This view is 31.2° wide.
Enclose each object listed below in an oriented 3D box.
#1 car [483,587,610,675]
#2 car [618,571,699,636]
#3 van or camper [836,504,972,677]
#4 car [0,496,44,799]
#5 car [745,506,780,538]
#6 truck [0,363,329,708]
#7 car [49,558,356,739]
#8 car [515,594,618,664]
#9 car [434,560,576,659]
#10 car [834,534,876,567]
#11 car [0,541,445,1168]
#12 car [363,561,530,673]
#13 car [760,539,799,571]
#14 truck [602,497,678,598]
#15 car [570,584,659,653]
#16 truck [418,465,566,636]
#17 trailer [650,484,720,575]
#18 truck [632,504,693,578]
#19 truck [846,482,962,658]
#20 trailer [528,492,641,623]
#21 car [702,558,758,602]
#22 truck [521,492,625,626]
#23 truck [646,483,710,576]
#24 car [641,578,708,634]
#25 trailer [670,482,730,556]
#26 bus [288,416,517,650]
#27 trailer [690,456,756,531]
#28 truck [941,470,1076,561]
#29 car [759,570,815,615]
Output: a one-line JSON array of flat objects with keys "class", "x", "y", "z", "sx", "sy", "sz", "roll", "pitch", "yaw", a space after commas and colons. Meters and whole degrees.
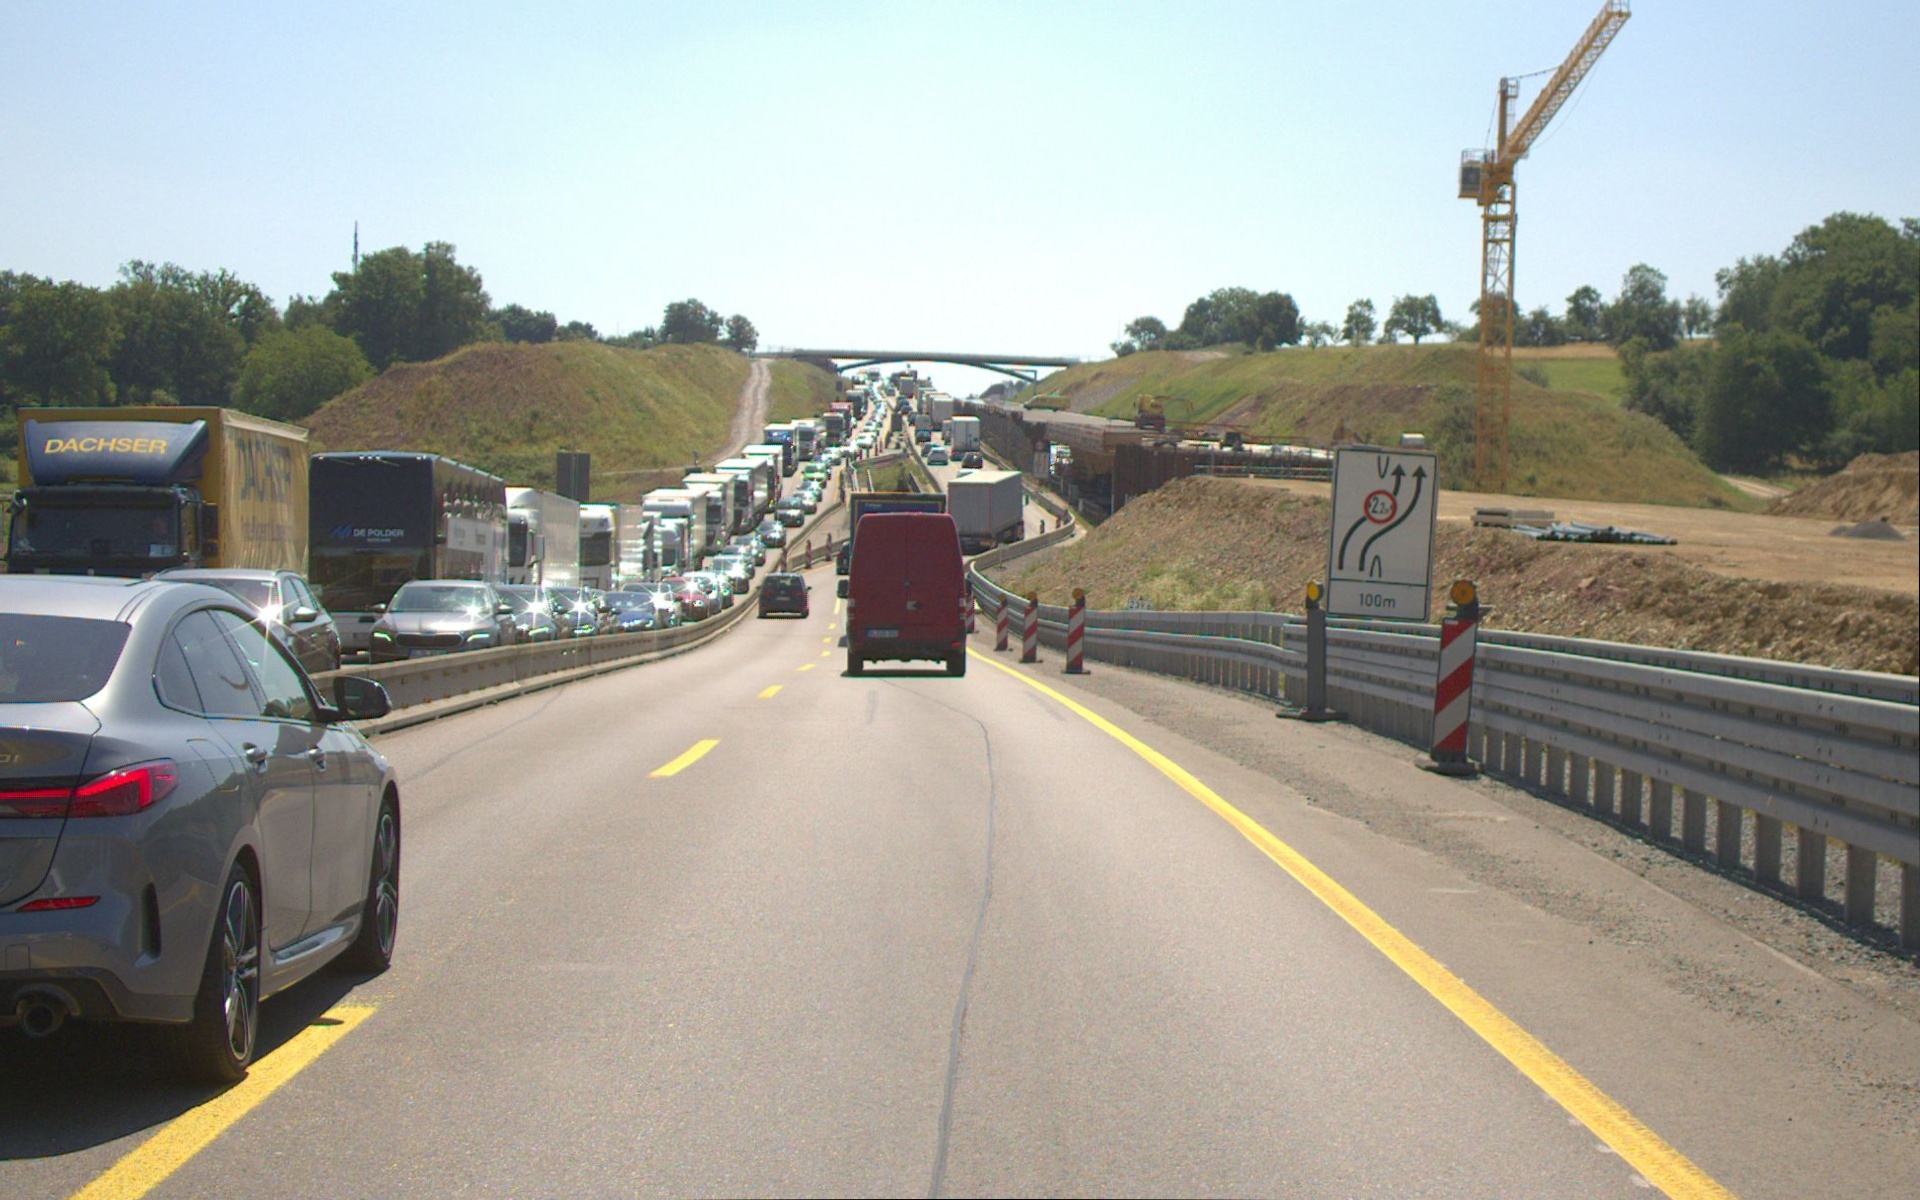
[{"class": "car", "x": -7.844, "y": 0.555, "z": 65.612, "sx": 1.918, "sy": 1.418, "sz": 5.091, "roll": 2, "pitch": 2, "yaw": -2}, {"class": "car", "x": -8.483, "y": 0.077, "z": 97.185, "sx": 1.993, "sy": 1.615, "sz": 4.883, "roll": 2, "pitch": 2, "yaw": -2}, {"class": "van or camper", "x": -0.973, "y": -0.210, "z": 57.332, "sx": 2.029, "sy": 2.735, "sz": 4.516, "roll": 1, "pitch": 1, "yaw": -3}, {"class": "car", "x": -6.594, "y": 0.301, "z": 17.545, "sx": 2.371, "sy": 1.720, "sz": 5.781, "roll": 1, "pitch": 2, "yaw": -1}, {"class": "car", "x": -11.526, "y": -4.586, "z": 200.731, "sx": 1.993, "sy": 1.777, "sz": 4.001, "roll": 2, "pitch": 2, "yaw": -3}, {"class": "truck", "x": -10.864, "y": -0.800, "z": 46.891, "sx": 2.802, "sy": 4.138, "sz": 10.080, "roll": 2, "pitch": 0, "yaw": -1}, {"class": "car", "x": -7.043, "y": 0.393, "z": 32.482, "sx": 1.882, "sy": 1.427, "sz": 5.126, "roll": 2, "pitch": 2, "yaw": -2}, {"class": "car", "x": -8.313, "y": 0.585, "z": 72.956, "sx": 1.832, "sy": 1.418, "sz": 4.684, "roll": 1, "pitch": 0, "yaw": -3}, {"class": "car", "x": -7.570, "y": 0.125, "z": 57.560, "sx": 1.838, "sy": 1.438, "sz": 4.930, "roll": 1, "pitch": 2, "yaw": -2}, {"class": "car", "x": -5.334, "y": -2.492, "z": 174.026, "sx": 2.012, "sy": 1.539, "sz": 4.133, "roll": 2, "pitch": 2, "yaw": -2}, {"class": "car", "x": -2.918, "y": 0.590, "z": 10.895, "sx": 1.851, "sy": 1.447, "sz": 4.742, "roll": 2, "pitch": 2, "yaw": 0}, {"class": "car", "x": -7.346, "y": 0.212, "z": 49.609, "sx": 1.859, "sy": 1.489, "sz": 4.905, "roll": -1, "pitch": 1, "yaw": -3}, {"class": "car", "x": -8.950, "y": -2.237, "z": 170.784, "sx": 1.827, "sy": 1.530, "sz": 4.547, "roll": -1, "pitch": 1, "yaw": -2}, {"class": "truck", "x": -12.716, "y": -2.109, "z": 137.162, "sx": 2.524, "sy": 3.842, "sz": 8.672, "roll": 1, "pitch": 1, "yaw": -2}, {"class": "car", "x": -8.317, "y": 0.427, "z": 83.083, "sx": 1.812, "sy": 1.433, "sz": 5.122, "roll": 2, "pitch": 2, "yaw": -3}, {"class": "truck", "x": -11.964, "y": -1.276, "z": 88.443, "sx": 3.097, "sy": 4.183, "sz": 6.703, "roll": 1, "pitch": 1, "yaw": -2}, {"class": "trailer", "x": -13.331, "y": -3.462, "z": 167.420, "sx": 2.594, "sy": 4.242, "sz": 12.469, "roll": 1, "pitch": 1, "yaw": -1}, {"class": "truck", "x": -13.081, "y": -2.623, "z": 151.430, "sx": 2.433, "sy": 3.137, "sz": 7.025, "roll": 0, "pitch": 2, "yaw": -3}, {"class": "truck", "x": -1.501, "y": -0.900, "z": 95.454, "sx": 3.020, "sy": 4.677, "sz": 6.933, "roll": -1, "pitch": 1, "yaw": 0}, {"class": "trailer", "x": -12.852, "y": -1.454, "z": 118.585, "sx": 2.985, "sy": 4.194, "sz": 13.947, "roll": 1, "pitch": 1, "yaw": -3}, {"class": "car", "x": -9.132, "y": -0.817, "z": 136.781, "sx": 1.993, "sy": 1.551, "sz": 4.339, "roll": 3, "pitch": 2, "yaw": -2}, {"class": "truck", "x": -12.467, "y": -1.331, "z": 111.156, "sx": 2.977, "sy": 4.170, "sz": 5.875, "roll": 1, "pitch": 1, "yaw": -3}, {"class": "truck", "x": -13.159, "y": -3.332, "z": 160.705, "sx": 2.550, "sy": 4.216, "sz": 6.531, "roll": 1, "pitch": 2, "yaw": -1}, {"class": "car", "x": -9.448, "y": 0.175, "z": 114.169, "sx": 1.993, "sy": 1.625, "sz": 4.759, "roll": 2, "pitch": 2, "yaw": -3}, {"class": "trailer", "x": -14.316, "y": -4.396, "z": 189.798, "sx": 2.783, "sy": 3.918, "sz": 11.009, "roll": 1, "pitch": 1, "yaw": -2}, {"class": "bus", "x": -11.259, "y": -1.463, "z": 70.953, "sx": 2.739, "sy": 4.249, "sz": 14.478, "roll": 2, "pitch": 2, "yaw": -2}, {"class": "trailer", "x": -14.736, "y": -6.623, "z": 214.715, "sx": 3.042, "sy": 4.536, "sz": 12.127, "roll": 1, "pitch": 2, "yaw": 1}, {"class": "truck", "x": 2.937, "y": -4.936, "z": 201.135, "sx": 5.163, "sy": 4.980, "sz": 13.869, "roll": 2, "pitch": 2, "yaw": 12}, {"class": "car", "x": -6.373, "y": -0.300, "z": 126.933, "sx": 2.011, "sy": 1.539, "sz": 4.133, "roll": 1, "pitch": 1, "yaw": -3}]
